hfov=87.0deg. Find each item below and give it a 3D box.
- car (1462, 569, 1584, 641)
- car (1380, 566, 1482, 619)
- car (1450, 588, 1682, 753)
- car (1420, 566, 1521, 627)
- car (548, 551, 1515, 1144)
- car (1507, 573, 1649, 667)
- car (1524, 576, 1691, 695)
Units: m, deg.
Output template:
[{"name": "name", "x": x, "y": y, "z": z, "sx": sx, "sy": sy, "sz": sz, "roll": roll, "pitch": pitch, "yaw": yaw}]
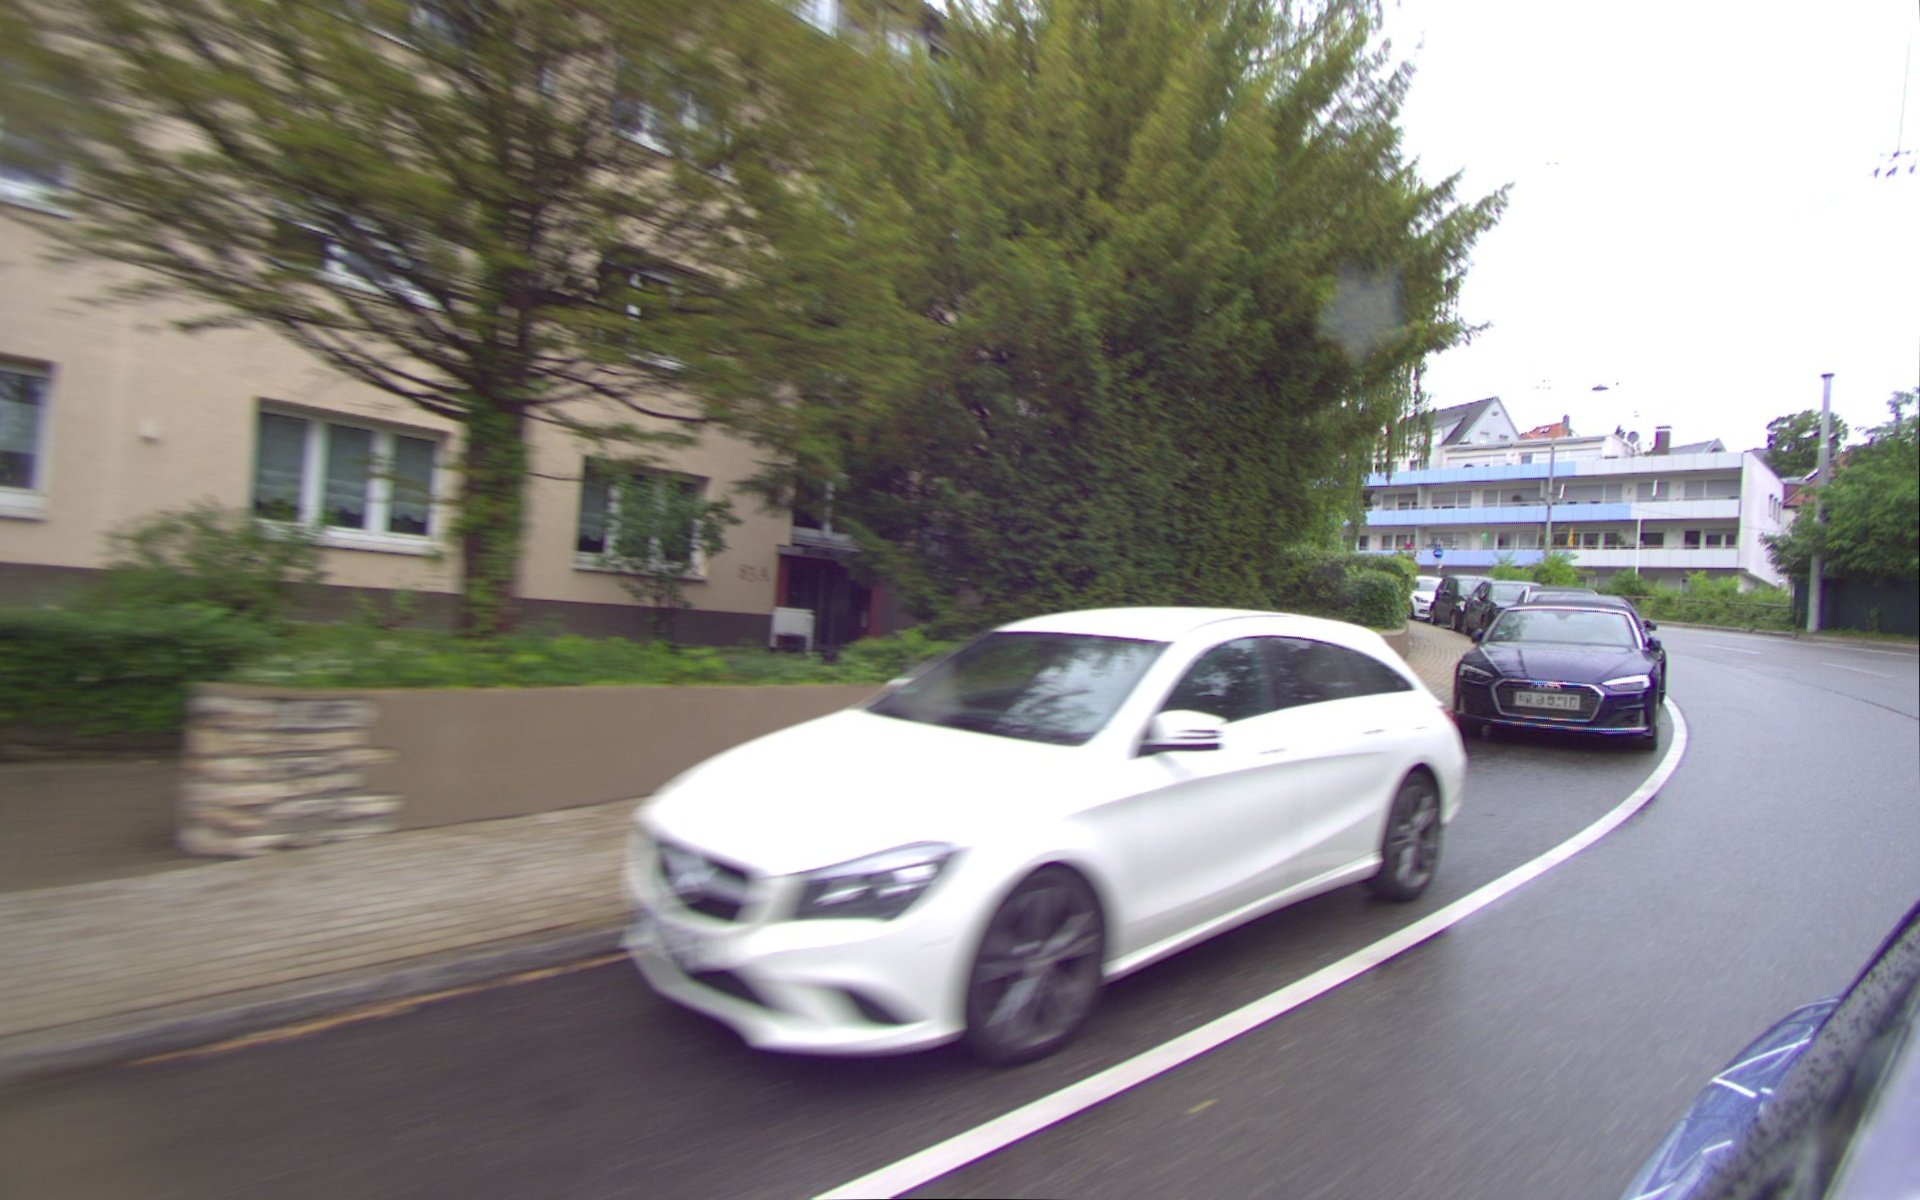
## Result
[{"name": "car", "x": 13.596, "y": 0.052, "z": 24.680, "sx": 1.699, "sy": 1.452, "sz": 4.046, "roll": 6, "pitch": 3, "yaw": 17}, {"name": "car", "x": 15.749, "y": -0.306, "z": 34.071, "sx": 1.702, "sy": 1.481, "sz": 4.027, "roll": 5, "pitch": 3, "yaw": 5}, {"name": "car", "x": 7.022, "y": 0.609, "z": 11.482, "sx": 1.803, "sy": 1.364, "sz": 4.560, "roll": 5, "pitch": 4, "yaw": 36}, {"name": "car", "x": 14.721, "y": -0.155, "z": 29.380, "sx": 1.601, "sy": 1.523, "sz": 3.593, "roll": 6, "pitch": 3, "yaw": 12}, {"name": "car", "x": 0.691, "y": 0.627, "z": 4.723, "sx": 4.488, "sy": 1.452, "sz": 1.784, "roll": 1, "pitch": 4, "yaw": -41}, {"name": "car", "x": 11.827, "y": 0.313, "z": 19.613, "sx": 1.669, "sy": 1.489, "sz": 3.710, "roll": 6, "pitch": 3, "yaw": 23}, {"name": "car", "x": 9.828, "y": 0.415, "z": 15.678, "sx": 1.798, "sy": 1.452, "sz": 4.485, "roll": 5, "pitch": 3, "yaw": 29}]
